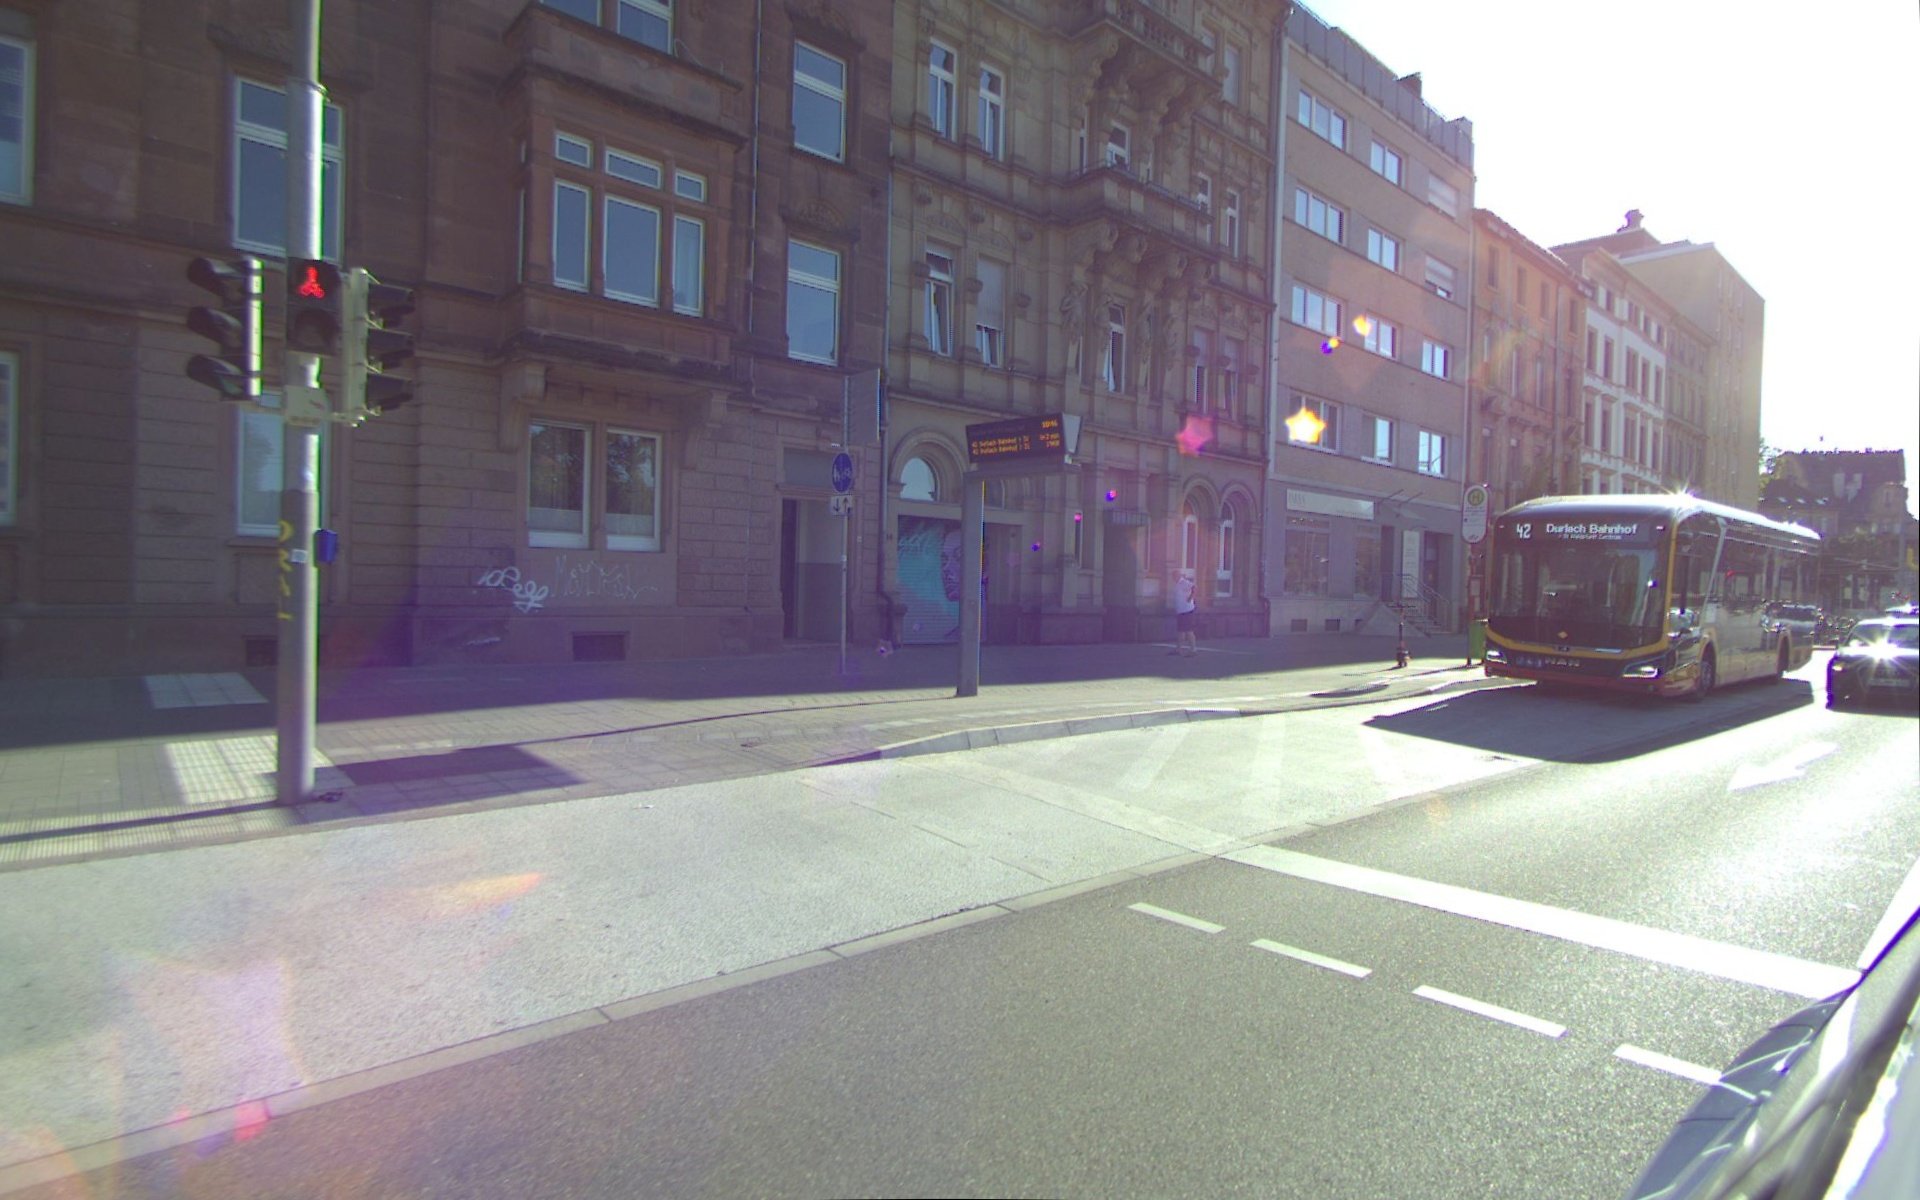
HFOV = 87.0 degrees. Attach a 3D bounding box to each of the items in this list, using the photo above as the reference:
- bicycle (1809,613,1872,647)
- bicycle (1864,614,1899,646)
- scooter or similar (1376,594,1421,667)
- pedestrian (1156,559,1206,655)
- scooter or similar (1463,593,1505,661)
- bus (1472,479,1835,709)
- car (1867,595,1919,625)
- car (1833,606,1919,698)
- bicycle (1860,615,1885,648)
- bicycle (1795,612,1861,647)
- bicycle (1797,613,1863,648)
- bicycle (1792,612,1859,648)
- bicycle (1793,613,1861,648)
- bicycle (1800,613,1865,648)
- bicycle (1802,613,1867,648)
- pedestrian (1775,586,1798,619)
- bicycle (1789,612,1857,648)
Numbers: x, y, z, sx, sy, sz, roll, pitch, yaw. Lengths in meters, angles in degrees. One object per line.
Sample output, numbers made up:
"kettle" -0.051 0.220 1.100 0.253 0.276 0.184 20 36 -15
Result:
"bicycle" 33.789 1.146 38.851 0.462 1.193 1.768 2 0 -41
"bicycle" 35.041 1.132 38.508 0.465 1.161 1.755 2 0 25
"scooter or similar" 8.166 0.544 18.837 0.430 1.264 1.278 4 3 36
"pedestrian" 4.479 0.135 20.514 0.841 1.856 0.776 4 0 12
"scooter or similar" 10.280 0.507 19.849 0.430 1.264 1.277 4 3 39
"bus" 13.744 -0.082 19.266 12.323 3.220 2.720 1 2 -42
"car" 53.339 0.581 56.132 4.176 1.590 1.957 1 0 5
"car" 16.285 0.822 17.143 3.764 1.406 1.693 0 0 -40
"bicycle" 33.103 1.145 36.704 1.740 1.161 0.469 2 -1 -42
"bicycle" 31.590 1.073 36.837 0.462 1.202 1.768 2 0 -41
"bicycle" 31.949 1.103 37.182 0.462 1.202 1.768 2 0 -41
"bicycle" 30.899 1.065 36.144 0.462 1.202 1.768 2 0 -41
"bicycle" 31.243 1.089 36.502 0.462 1.202 1.795 2 0 -41
"bicycle" 32.317 1.119 37.512 0.462 1.202 1.768 2 0 -41
"bicycle" 32.694 1.131 37.856 0.462 1.202 1.768 2 0 -41
"pedestrian" 48.736 0.159 59.693 0.743 1.890 0.826 2 0 19
"bicycle" 30.526 1.056 35.833 0.462 1.202 1.768 2 0 -41
